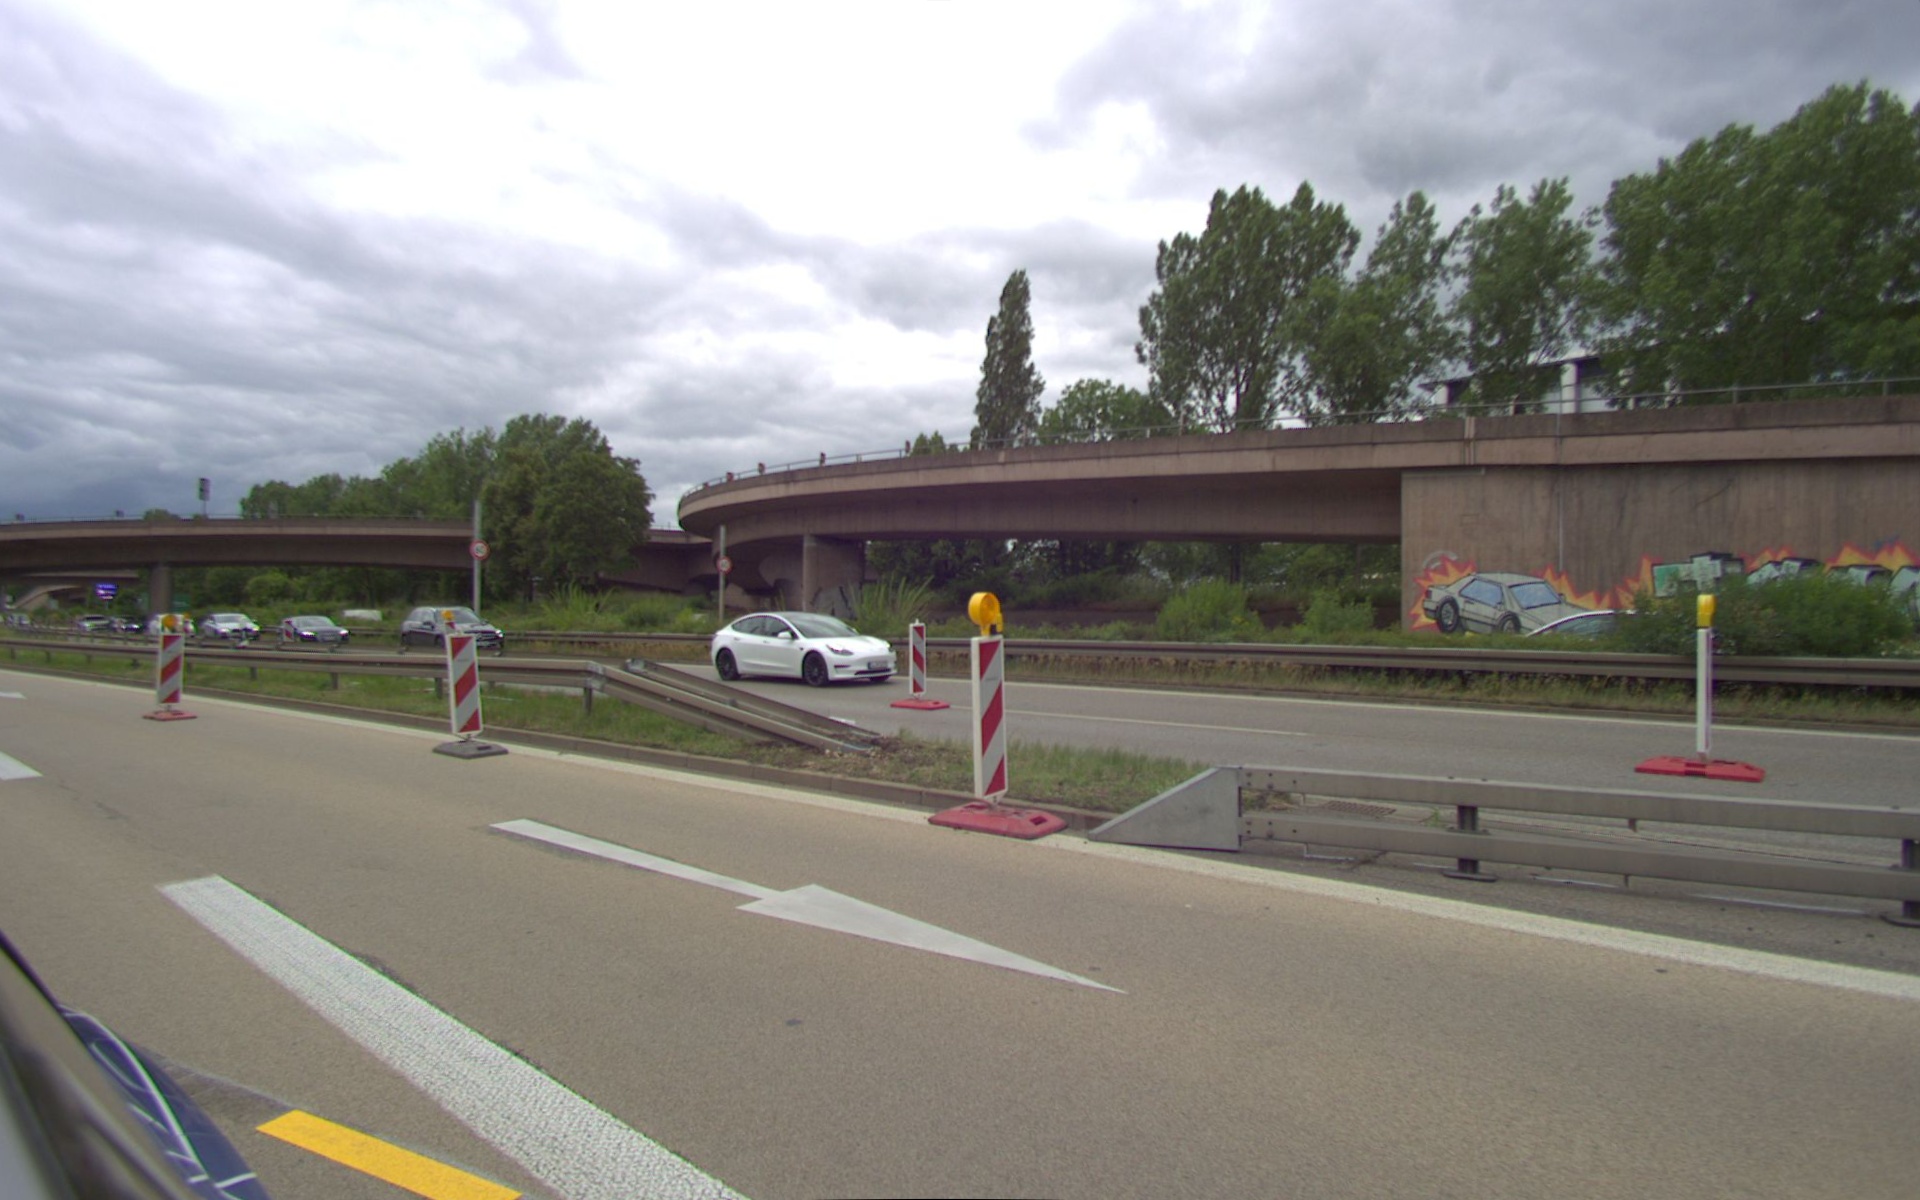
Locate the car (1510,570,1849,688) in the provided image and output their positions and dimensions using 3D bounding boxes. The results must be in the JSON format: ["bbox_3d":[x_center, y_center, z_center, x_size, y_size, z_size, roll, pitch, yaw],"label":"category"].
[{"bbox_3d":[11.478,0.420,16.340,4.290,1.652,1.835,-1,0,41],"label":"car"}]

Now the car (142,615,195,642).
[{"bbox_3d":[-49.378,1.757,63.104,4.000,1.606,1.972,-1,-2,43],"label":"car"}]

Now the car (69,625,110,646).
[{"bbox_3d":[-69.522,2.815,80.822,4.292,1.606,1.972,-1,-2,43],"label":"car"}]

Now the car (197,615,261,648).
[{"bbox_3d":[-37.357,1.590,51.675,3.999,1.523,1.779,0,-1,42],"label":"car"}]

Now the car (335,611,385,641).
[{"bbox_3d":[-42.323,1.818,71.411,4.000,2.018,1.972,-1,-2,43],"label":"car"}]

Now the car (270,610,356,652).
[{"bbox_3d":[-27.921,1.304,43.659,3.995,1.716,1.912,0,-2,38],"label":"car"}]

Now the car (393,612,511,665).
[{"bbox_3d":[-16.448,1.188,32.699,4.290,1.522,1.954,-1,1,42],"label":"car"}]

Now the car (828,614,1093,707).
[{"bbox_3d":[-0.097,0.974,17.992,4.598,1.424,1.952,-1,-1,42],"label":"car"}]

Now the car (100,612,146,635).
[{"bbox_3d":[-59.538,1.664,71.974,4.292,1.606,1.972,-1,-2,43],"label":"car"}]
